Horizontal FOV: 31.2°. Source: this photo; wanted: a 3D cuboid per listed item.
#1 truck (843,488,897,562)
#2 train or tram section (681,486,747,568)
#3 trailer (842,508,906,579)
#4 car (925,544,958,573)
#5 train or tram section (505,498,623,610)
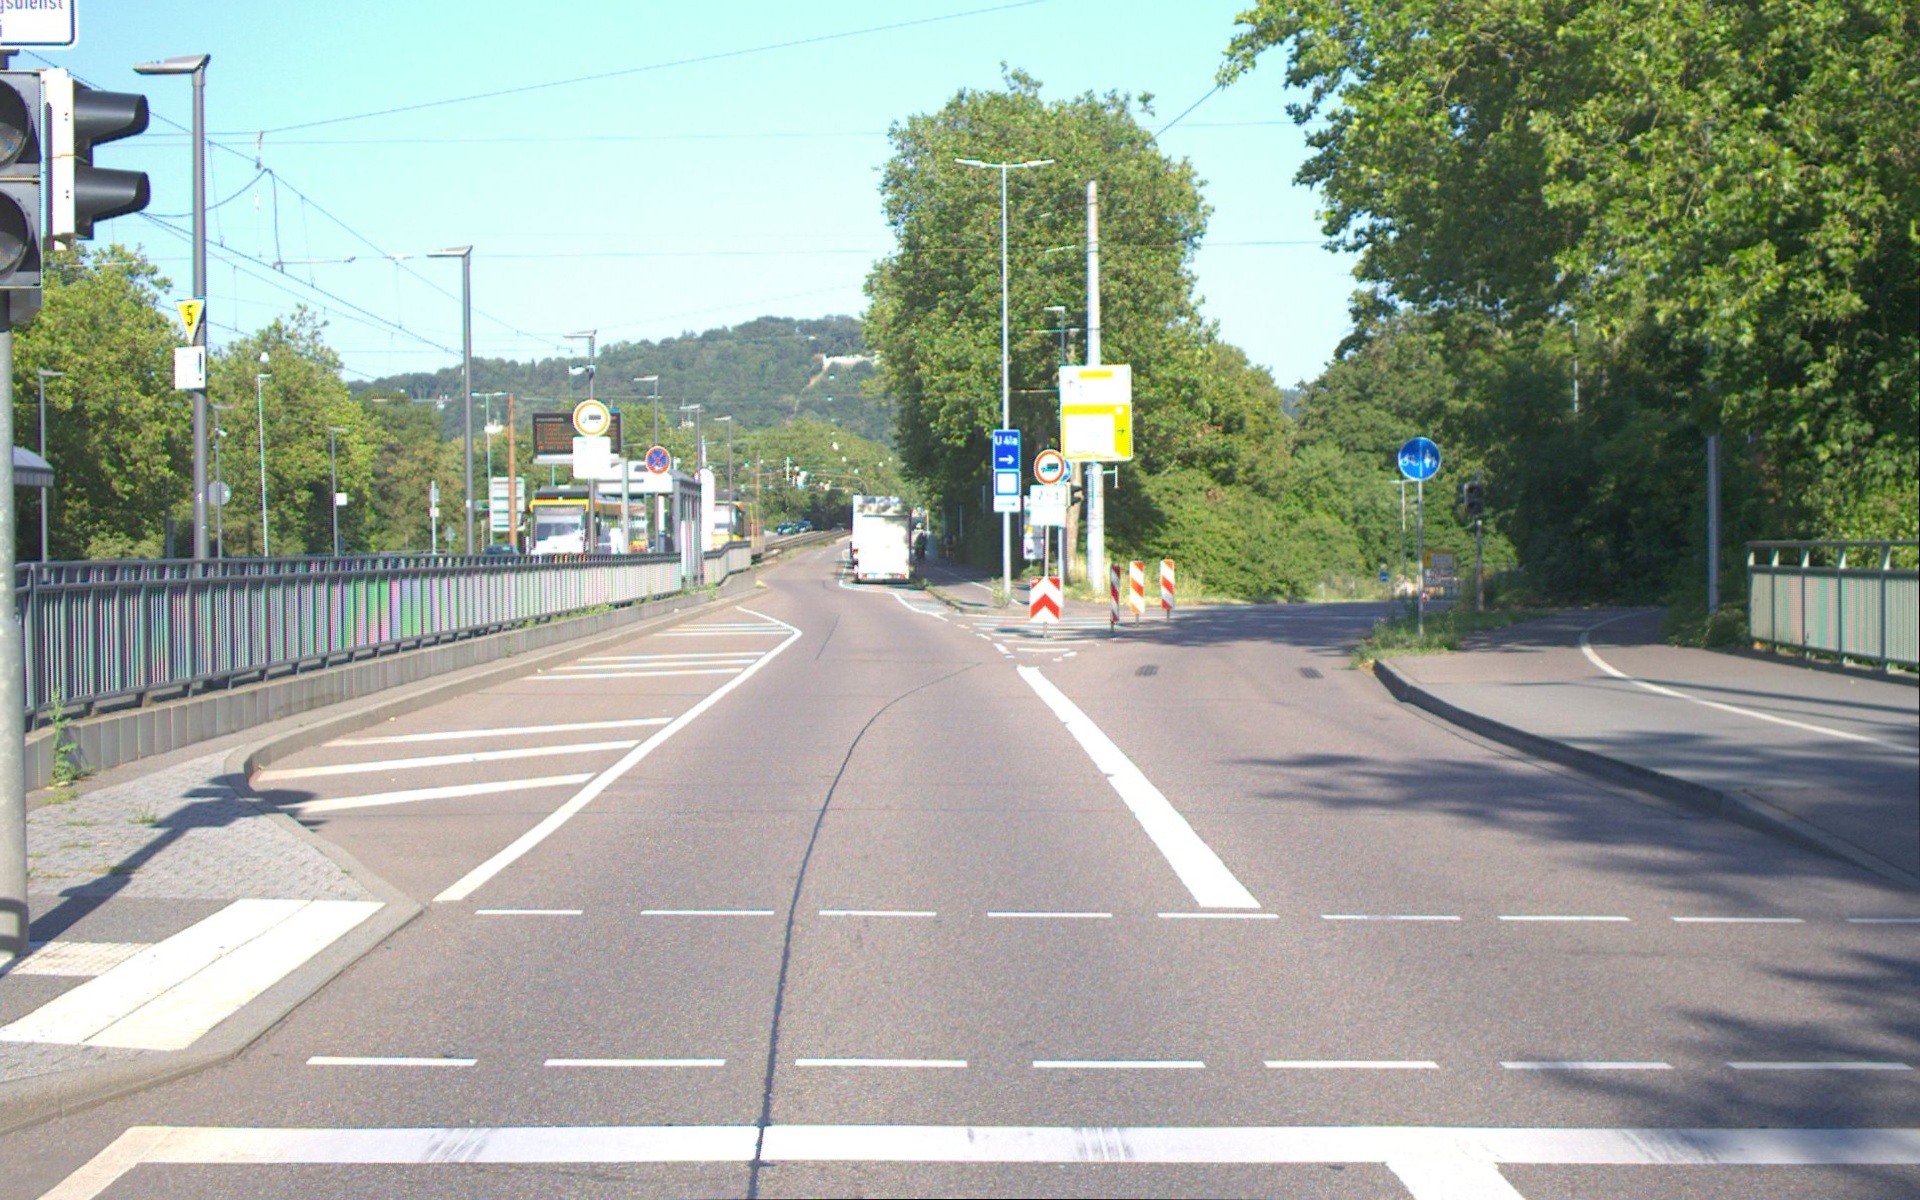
[{"bbox_3d":[-4.810,-3.961,182.367,2.741,3.770,10.090,1,1,-2],"label":"truck"},{"bbox_3d":[-12.893,-3.867,181.404,2.721,4.077,13.617,-1,1,-1],"label":"train or tram section"},{"bbox_3d":[-3.339,-2.218,134.514,2.251,2.685,5.947,0,1,1],"label":"trailer"},{"bbox_3d":[-0.929,-2.085,172.487,1.653,1.432,3.777,0,1,0],"label":"car"},{"bbox_3d":[-14.952,-1.767,130.873,2.827,3.992,15.876,1,1,-1],"label":"train or tram section"}]
